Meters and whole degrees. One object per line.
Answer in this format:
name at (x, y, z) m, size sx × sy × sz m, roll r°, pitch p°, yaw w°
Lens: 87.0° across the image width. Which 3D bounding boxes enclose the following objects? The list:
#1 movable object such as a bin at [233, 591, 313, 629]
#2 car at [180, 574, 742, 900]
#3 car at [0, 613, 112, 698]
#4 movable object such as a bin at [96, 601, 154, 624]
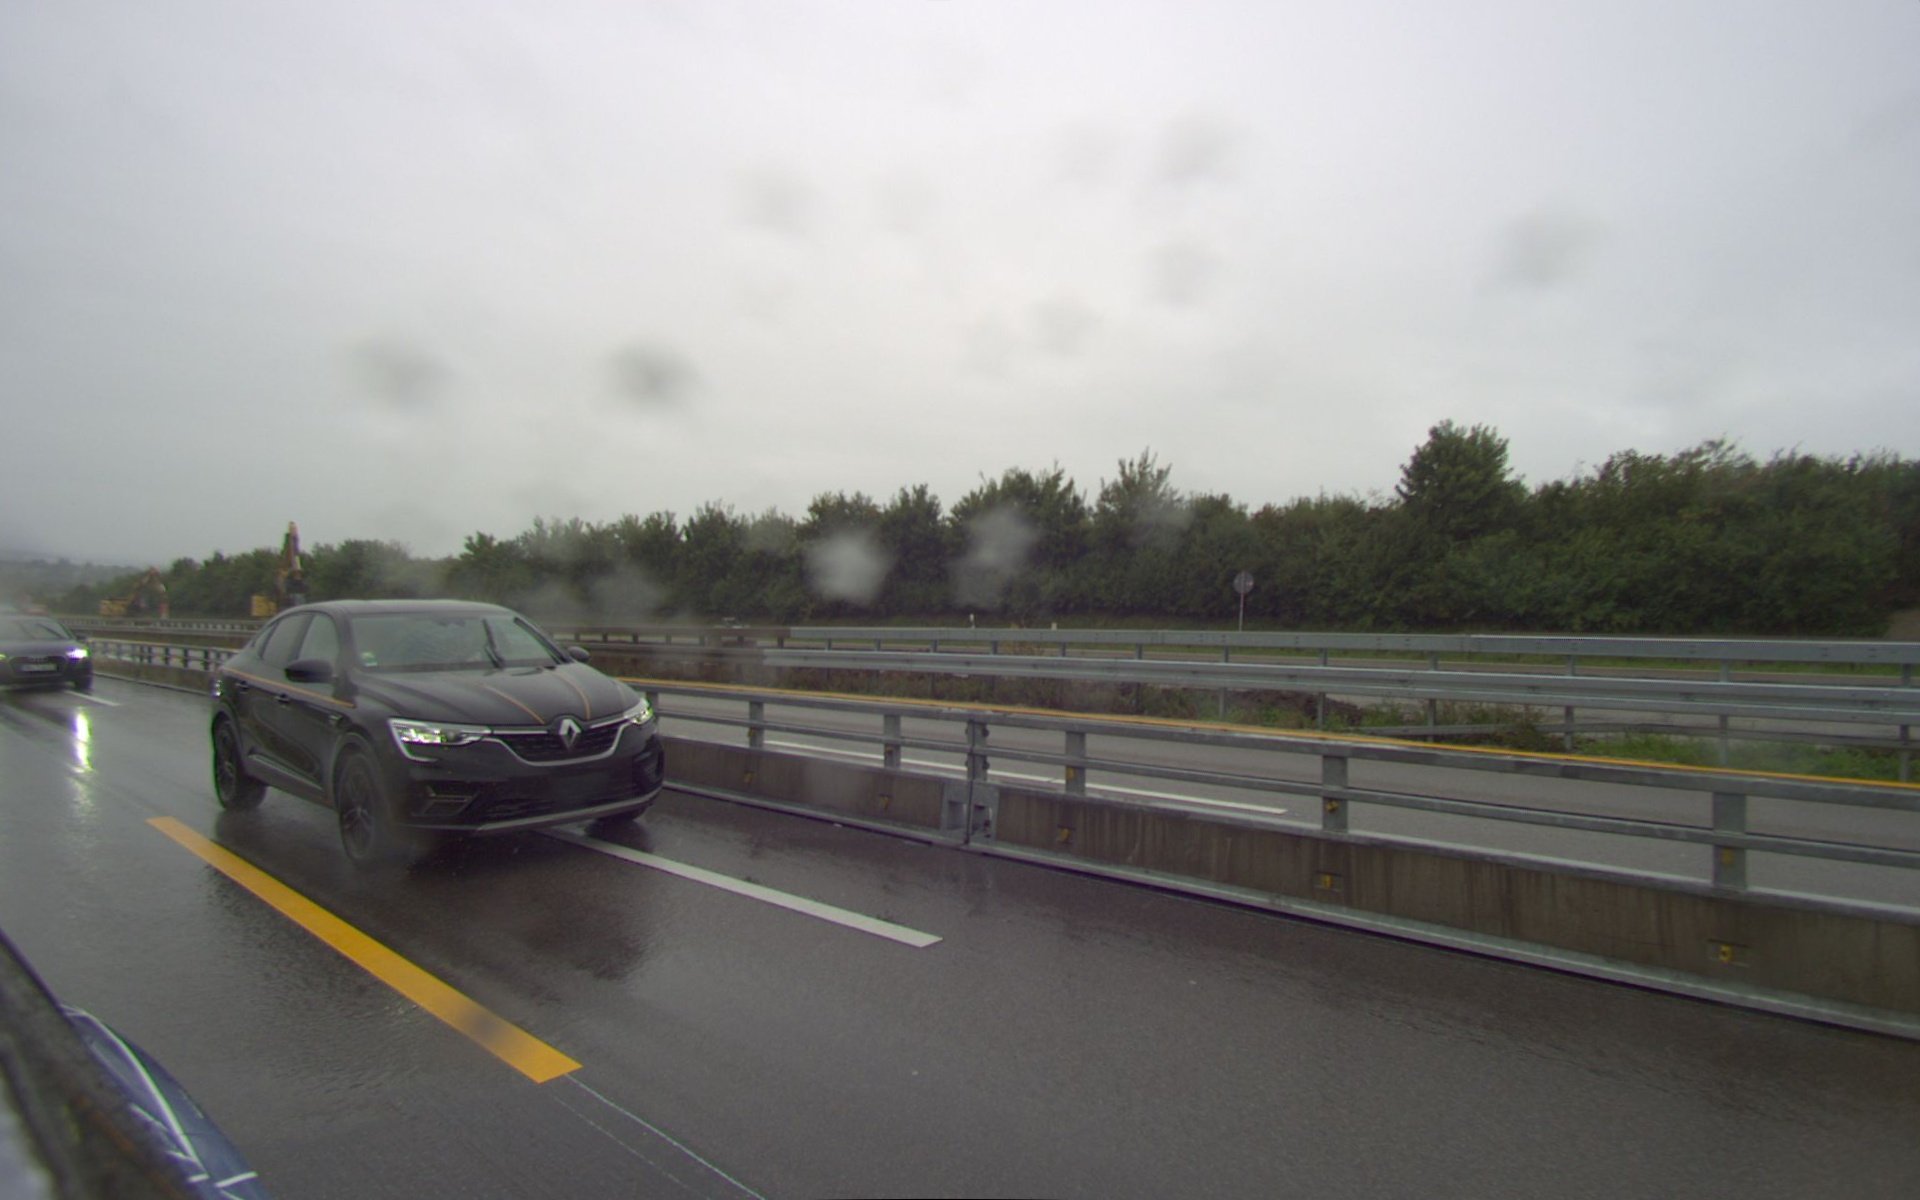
movable object such as a bin at (-54.140, 0.783, 79.726) m, size 6.326 × 2.819 × 3.726 m, roll -1°, pitch 0°, yaw 41°
car at (-3.715, 0.674, 7.150) m, size 4.410 × 1.597 × 1.973 m, roll -1°, pitch 0°, yaw 40°
car at (-18.801, 1.032, 20.324) m, size 4.628 × 1.509 × 1.973 m, roll -1°, pitch 0°, yaw 41°
movable object such as a bin at (-86.760, 1.321, 105.152) m, size 5.087 × 2.312 × 3.410 m, roll -1°, pitch 0°, yaw 34°
